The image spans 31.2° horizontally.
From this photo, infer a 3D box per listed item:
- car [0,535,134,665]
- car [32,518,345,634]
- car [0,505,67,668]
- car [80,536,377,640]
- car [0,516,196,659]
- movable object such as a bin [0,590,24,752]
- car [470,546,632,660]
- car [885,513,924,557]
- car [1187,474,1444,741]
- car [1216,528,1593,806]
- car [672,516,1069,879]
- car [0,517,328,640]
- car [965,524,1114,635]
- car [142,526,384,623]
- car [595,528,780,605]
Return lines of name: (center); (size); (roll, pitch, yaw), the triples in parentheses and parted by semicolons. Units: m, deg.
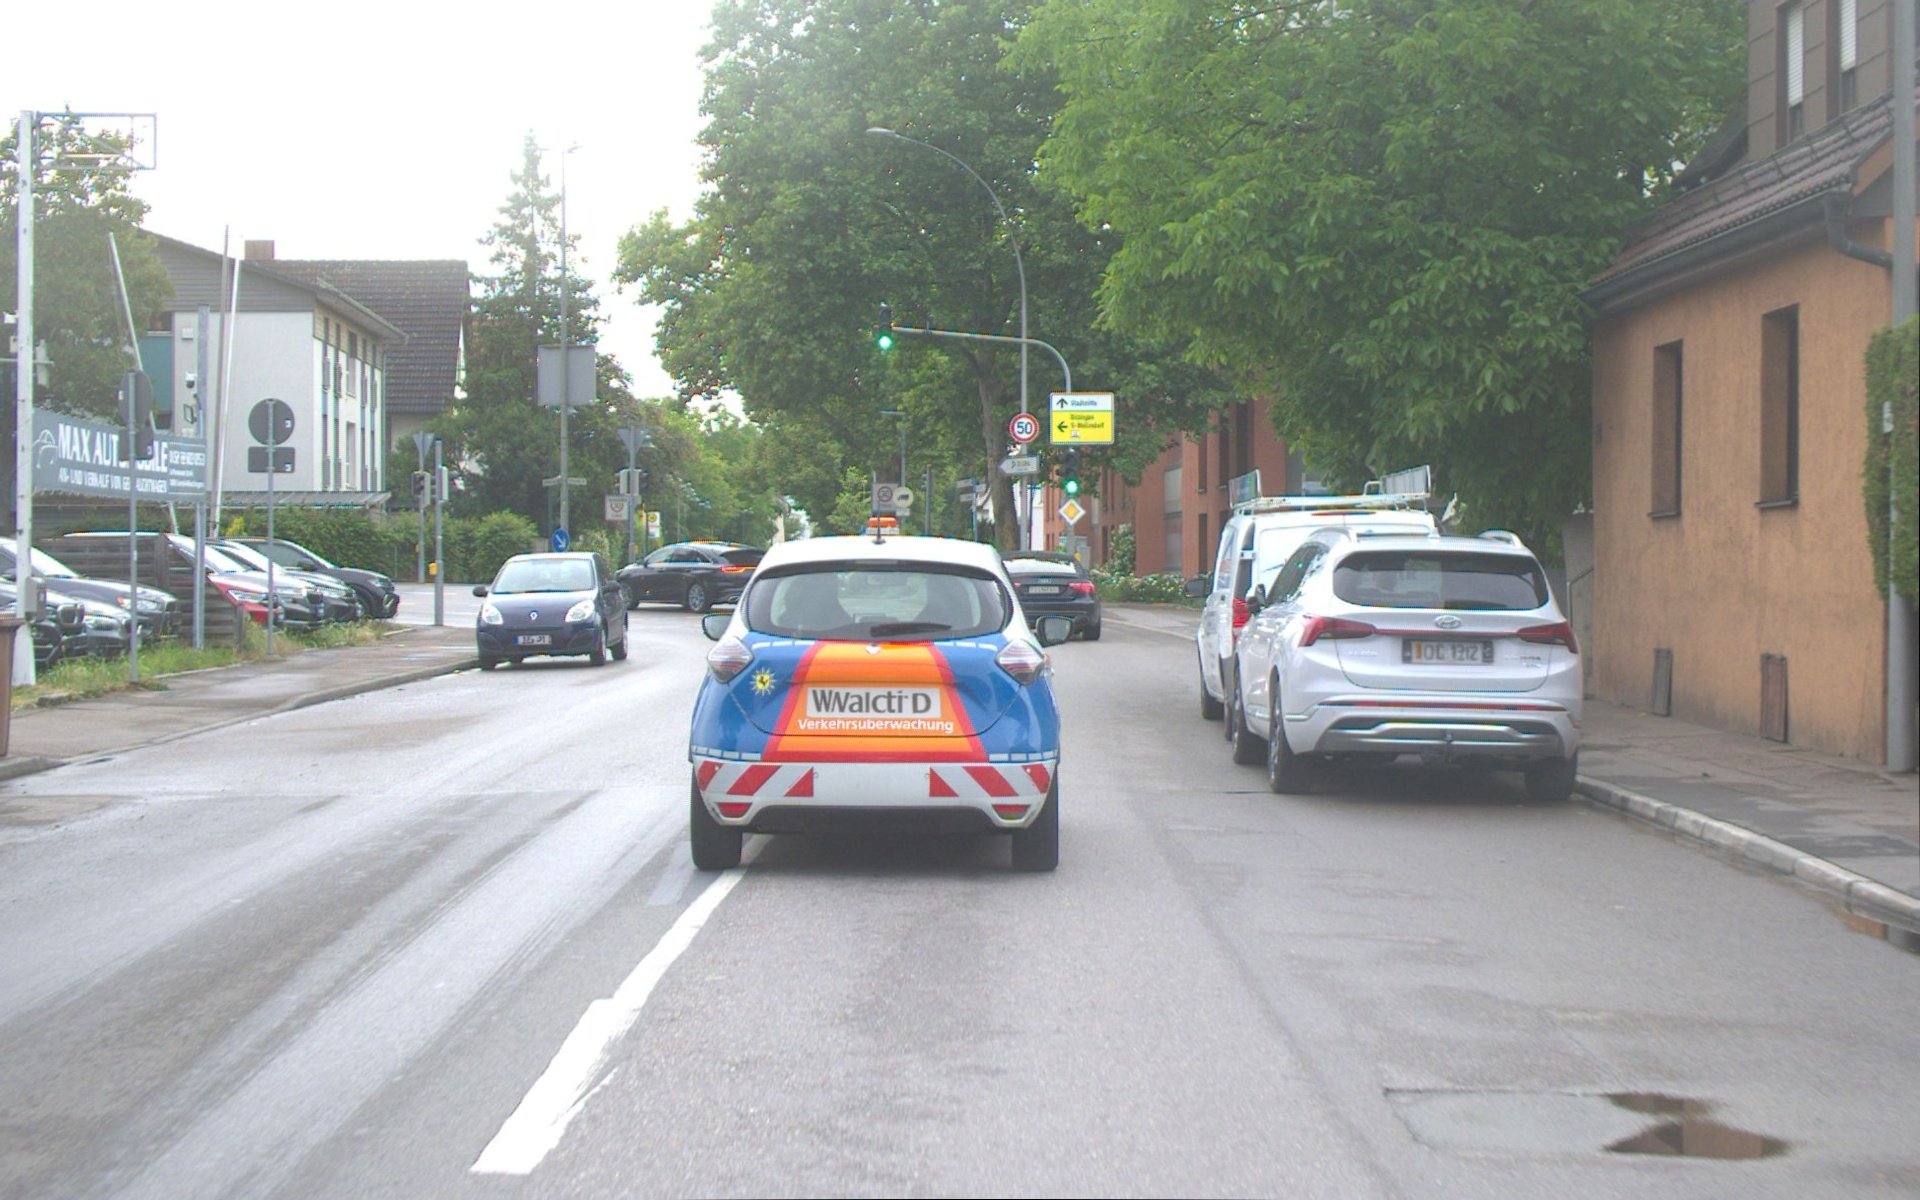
car: (-11.835, -0.026, 39.228); (4.347, 1.427, 1.959); (0, 1, 0)
car: (-10.920, -0.356, 48.843); (3.987, 1.538, 1.803); (1, 1, 2)
car: (-11.954, -0.173, 36.626); (4.347, 1.685, 2.059); (0, 1, 0)
car: (-10.886, -0.192, 51.326); (3.987, 1.436, 1.803); (1, 1, 2)
car: (-11.671, -0.181, 41.718); (4.347, 1.684, 1.959); (0, 1, 0)
movable object such as a bin: (-7.082, 0.494, 24.334); (0.708, 1.126, 0.735); (1, 1, 0)
car: (-5.340, 0.008, 45.241); (1.626, 1.428, 3.683); (0, 1, 1)
car: (-2.633, -3.077, 162.784); (1.643, 2.010, 3.716); (1, 2, -3)
car: (2.905, -0.027, 28.959); (1.778, 2.022, 4.754); (1, 2, 2)
car: (2.845, 0.366, 22.926); (1.865, 1.659, 4.320); (1, 1, -1)
car: (-0.420, 0.385, 17.208); (1.746, 1.575, 4.001); (0, 2, -1)
car: (-10.654, -0.305, 46.059); (3.987, 1.538, 1.803); (1, 1, 2)
car: (1.274, -0.354, 53.416); (1.994, 1.568, 4.000); (2, 2, 5)
car: (-11.813, -0.441, 58.420); (3.945, 1.525, 1.623); (1, 2, -10)
car: (-5.605, -0.704, 70.402); (1.794, 1.423, 3.999); (0, 3, -39)
